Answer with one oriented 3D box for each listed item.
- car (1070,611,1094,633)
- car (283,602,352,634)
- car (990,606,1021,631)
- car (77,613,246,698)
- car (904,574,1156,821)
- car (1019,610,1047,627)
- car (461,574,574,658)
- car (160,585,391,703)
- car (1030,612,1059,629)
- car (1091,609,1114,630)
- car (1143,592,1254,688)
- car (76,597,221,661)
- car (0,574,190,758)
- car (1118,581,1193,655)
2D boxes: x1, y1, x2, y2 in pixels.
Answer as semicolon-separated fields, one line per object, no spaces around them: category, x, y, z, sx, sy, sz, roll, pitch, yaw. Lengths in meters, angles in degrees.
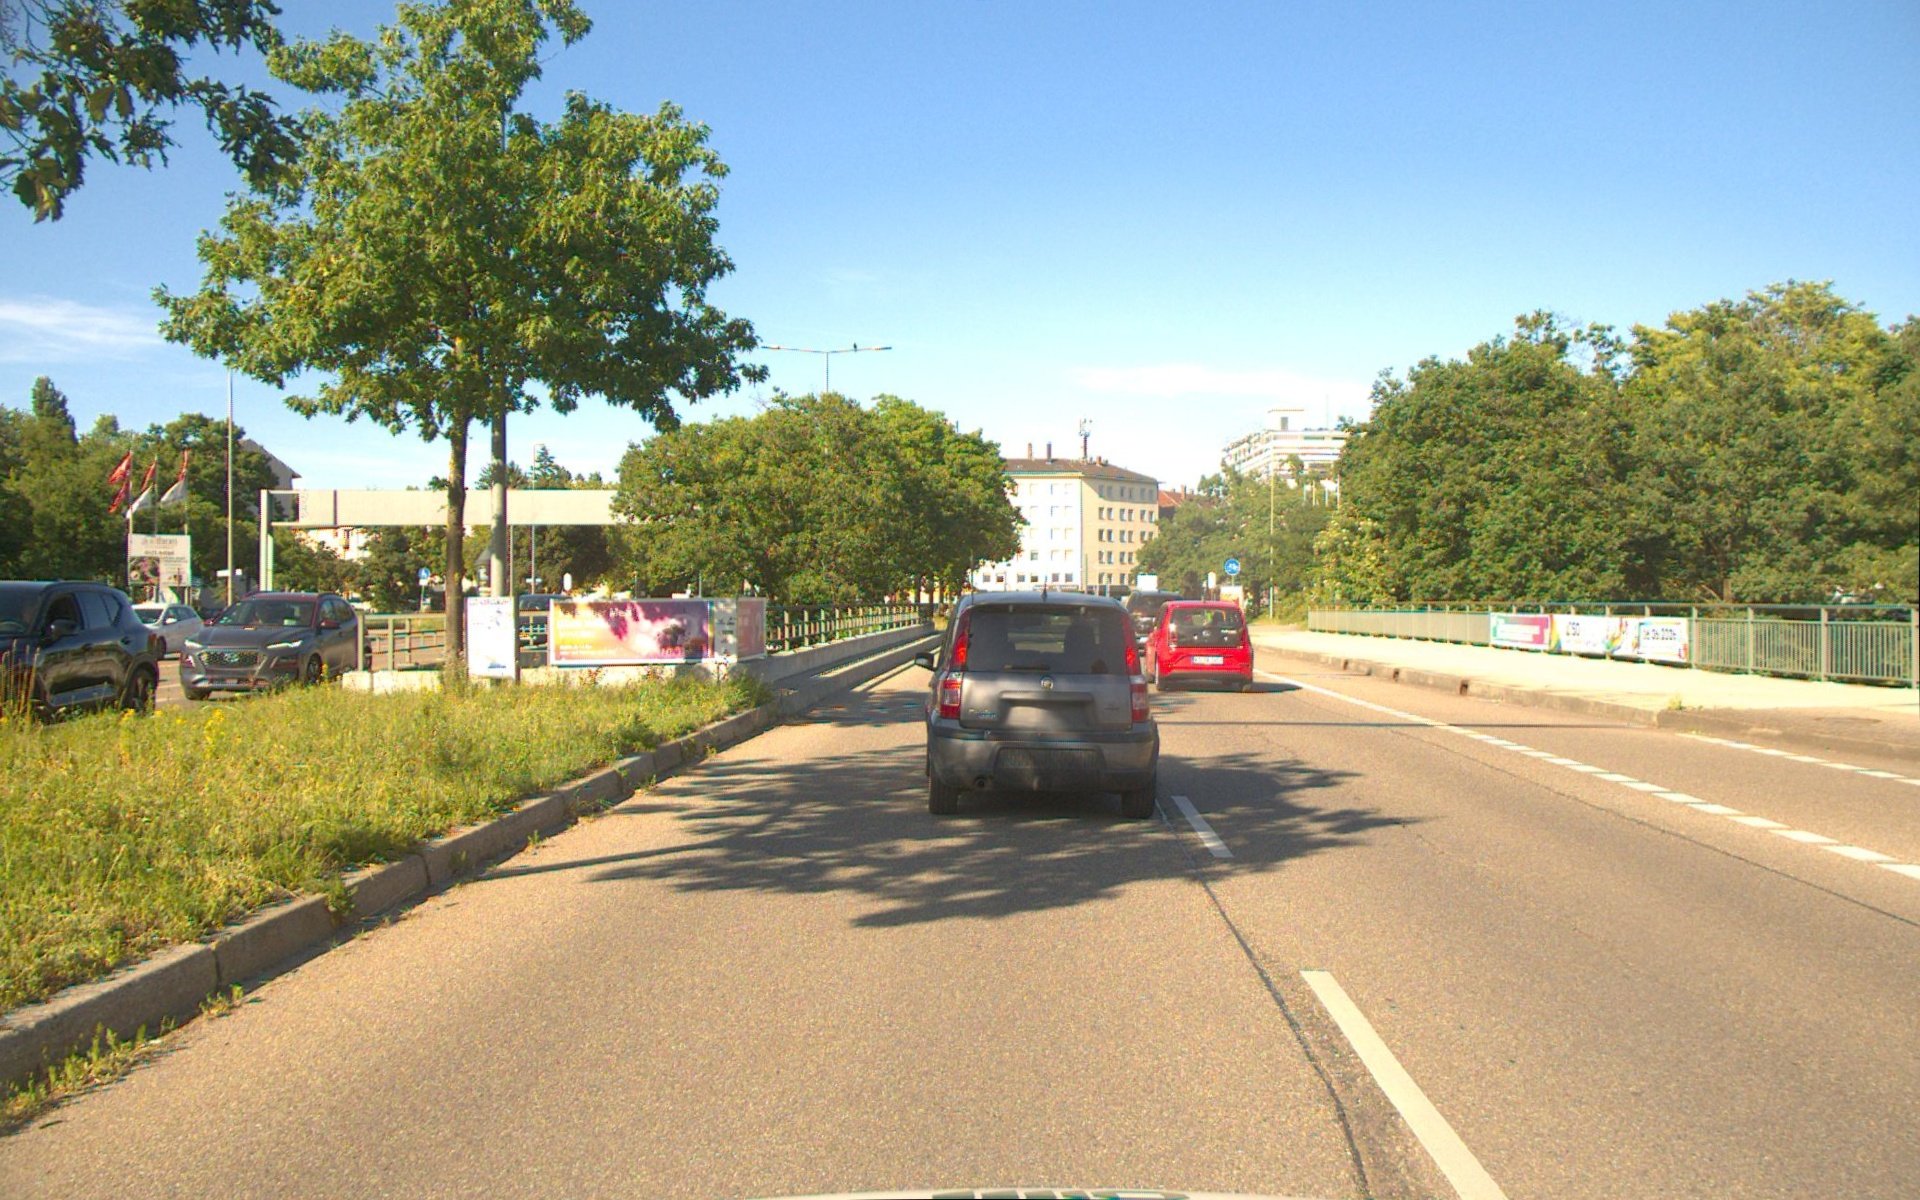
car;11.112;2.003;150.035;1.904;1.872;4.155;-3;-2;6
car;-42.368;1.177;109.130;4.178;2.049;1.986;-1;0;-23
car;2.942;1.168;105.604;1.904;1.555;4.099;0;0;3
car;-16.702;1.109;34.804;1.898;1.650;3.737;0;0;-3
car;0.506;0.616;12.624;1.584;1.542;3.821;2;0;2
car;6.673;1.698;151.167;1.903;1.555;4.101;0;0;12
car;-11.501;0.396;43.255;1.953;2.049;4.332;-1;0;-3
car;-10.356;0.605;25.423;1.898;1.650;4.503;0;0;-3
car;8.227;1.985;160.597;1.904;1.555;4.099;0;0;17
car;13.531;1.874;156.729;1.904;1.872;4.155;-3;-2;6
car;4.056;0.635;28.570;1.583;1.488;3.753;2;0;4
car;-21.839;0.734;44.695;1.898;1.650;4.503;0;0;-3
car;-9.681;0.592;16.705;1.898;1.650;4.503;0;0;-3
car;5.333;0.505;45.404;1.904;1.872;4.155;1;-1;6
